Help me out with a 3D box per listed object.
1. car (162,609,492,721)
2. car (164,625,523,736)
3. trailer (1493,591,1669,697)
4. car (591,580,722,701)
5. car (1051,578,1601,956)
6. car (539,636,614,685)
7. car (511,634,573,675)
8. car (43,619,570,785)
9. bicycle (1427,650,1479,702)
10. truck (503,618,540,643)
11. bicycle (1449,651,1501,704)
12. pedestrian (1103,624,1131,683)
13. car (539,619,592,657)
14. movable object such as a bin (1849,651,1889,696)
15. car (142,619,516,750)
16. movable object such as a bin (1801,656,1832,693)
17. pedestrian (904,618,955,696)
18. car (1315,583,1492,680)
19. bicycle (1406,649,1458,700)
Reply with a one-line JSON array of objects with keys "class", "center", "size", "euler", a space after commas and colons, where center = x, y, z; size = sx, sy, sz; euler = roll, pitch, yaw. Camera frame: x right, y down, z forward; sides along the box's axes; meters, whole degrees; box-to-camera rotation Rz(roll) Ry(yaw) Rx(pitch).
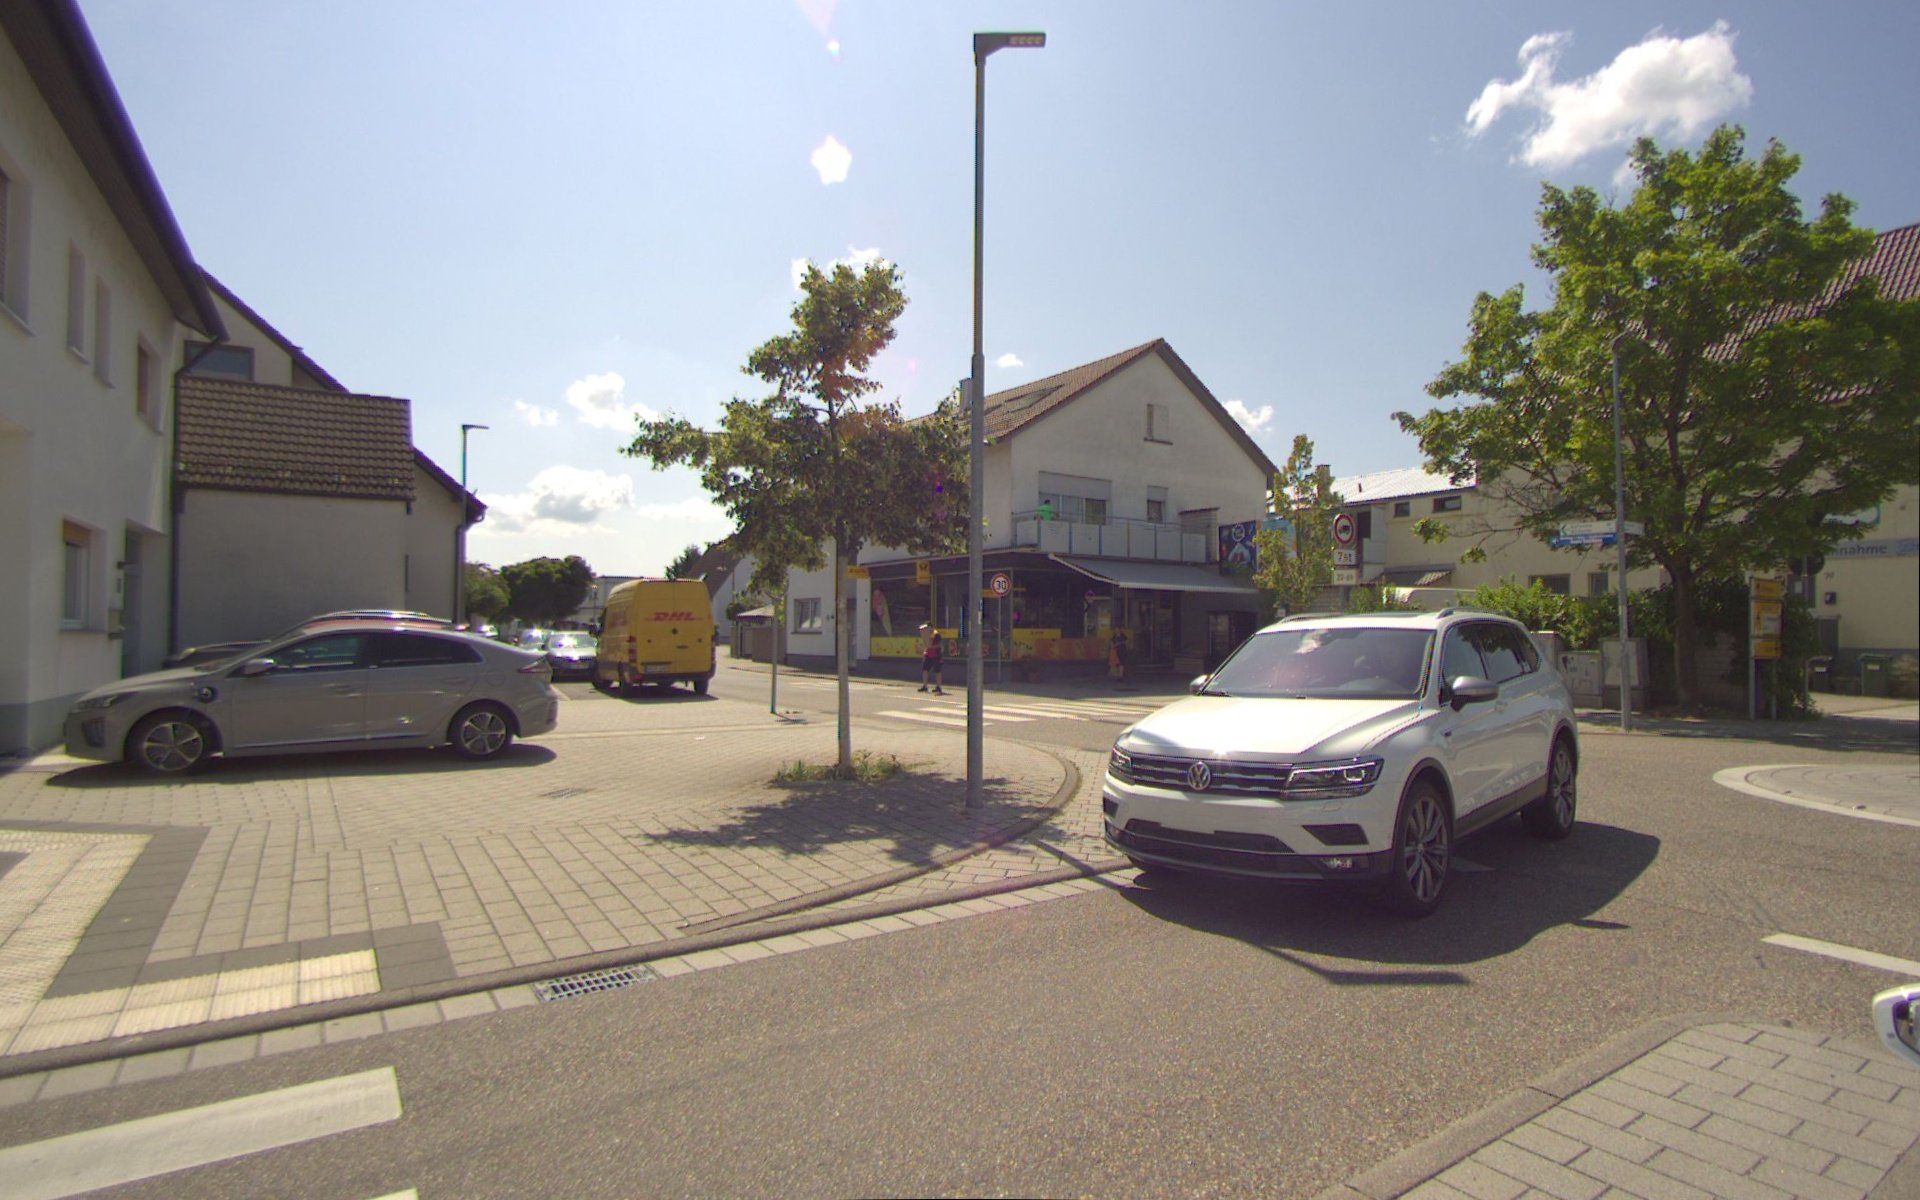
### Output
[{"class": "car", "center": [-11.077, 1.118, 17.911], "size": [4.700, 1.762, 1.969], "euler": [2, -2, -34]}, {"class": "car", "center": [-9.246, 1.164, 15.393], "size": [4.432, 1.470, 1.819], "euler": [2, -2, -34]}, {"class": "trailer", "center": [15.165, 1.030, 24.476], "size": [4.473, 2.366, 1.868], "euler": [1, 0, -32]}, {"class": "car", "center": [-7.582, 0.960, 24.647], "size": [2.086, 2.606, 5.645], "euler": [1, -2, -27]}, {"class": "car", "center": [2.772, 0.868, 6.904], "size": [1.847, 1.732, 4.515], "euler": [-4, -4, 44]}, {"class": "car", "center": [-11.667, 1.774, 30.431], "size": [1.763, 1.261, 3.947], "euler": [1, -1, -26]}, {"class": "car", "center": [-14.757, 1.882, 35.361], "size": [1.763, 1.261, 3.947], "euler": [1, -1, -26]}, {"class": "car", "center": [-6.775, 0.995, 10.932], "size": [4.432, 1.470, 1.819], "euler": [2, -2, -34]}, {"class": "bicycle", "center": [10.812, 1.641, 21.985], "size": [1.969, 1.017, 0.396], "euler": [0, 0, -45]}, {"class": "truck", "center": [-44.592, 3.097, 102.052], "size": [2.226, 2.483, 5.807], "euler": [2, -2, -37]}, {"class": "bicycle", "center": [11.115, 1.648, 21.653], "size": [1.969, 1.017, 0.396], "euler": [0, 0, -45]}, {"class": "pedestrian", "center": [4.388, 1.477, 28.130], "size": [0.735, 1.610, 0.881], "euler": [-1, -1, 10]}, {"class": "car", "center": [-20.757, 1.978, 52.977], "size": [1.841, 1.857, 3.965], "euler": [1, 0, -11]}, {"class": "movable object such as a bin", "center": [23.198, 1.867, 25.638], "size": [0.650, 1.093, 0.597], "euler": [1, -2, -30]}, {"class": "car", "center": [-8.135, 1.041, 13.262], "size": [3.922, 1.496, 1.737], "euler": [2, -2, -34]}, {"class": "movable object such as a bin", "center": [22.553, 1.951, 26.451], "size": [0.540, 0.940, 0.477], "euler": [1, -2, -30]}, {"class": "pedestrian", "center": [-0.758, 1.388, 24.876], "size": [1.012, 1.850, 0.776], "euler": [-1, 0, -34]}, {"class": "car", "center": [12.961, 0.894, 29.225], "size": [5.585, 2.601, 1.926], "euler": [1, 0, -32]}, {"class": "bicycle", "center": [10.488, 1.633, 22.294], "size": [1.969, 1.017, 0.396], "euler": [0, 0, -45]}]
